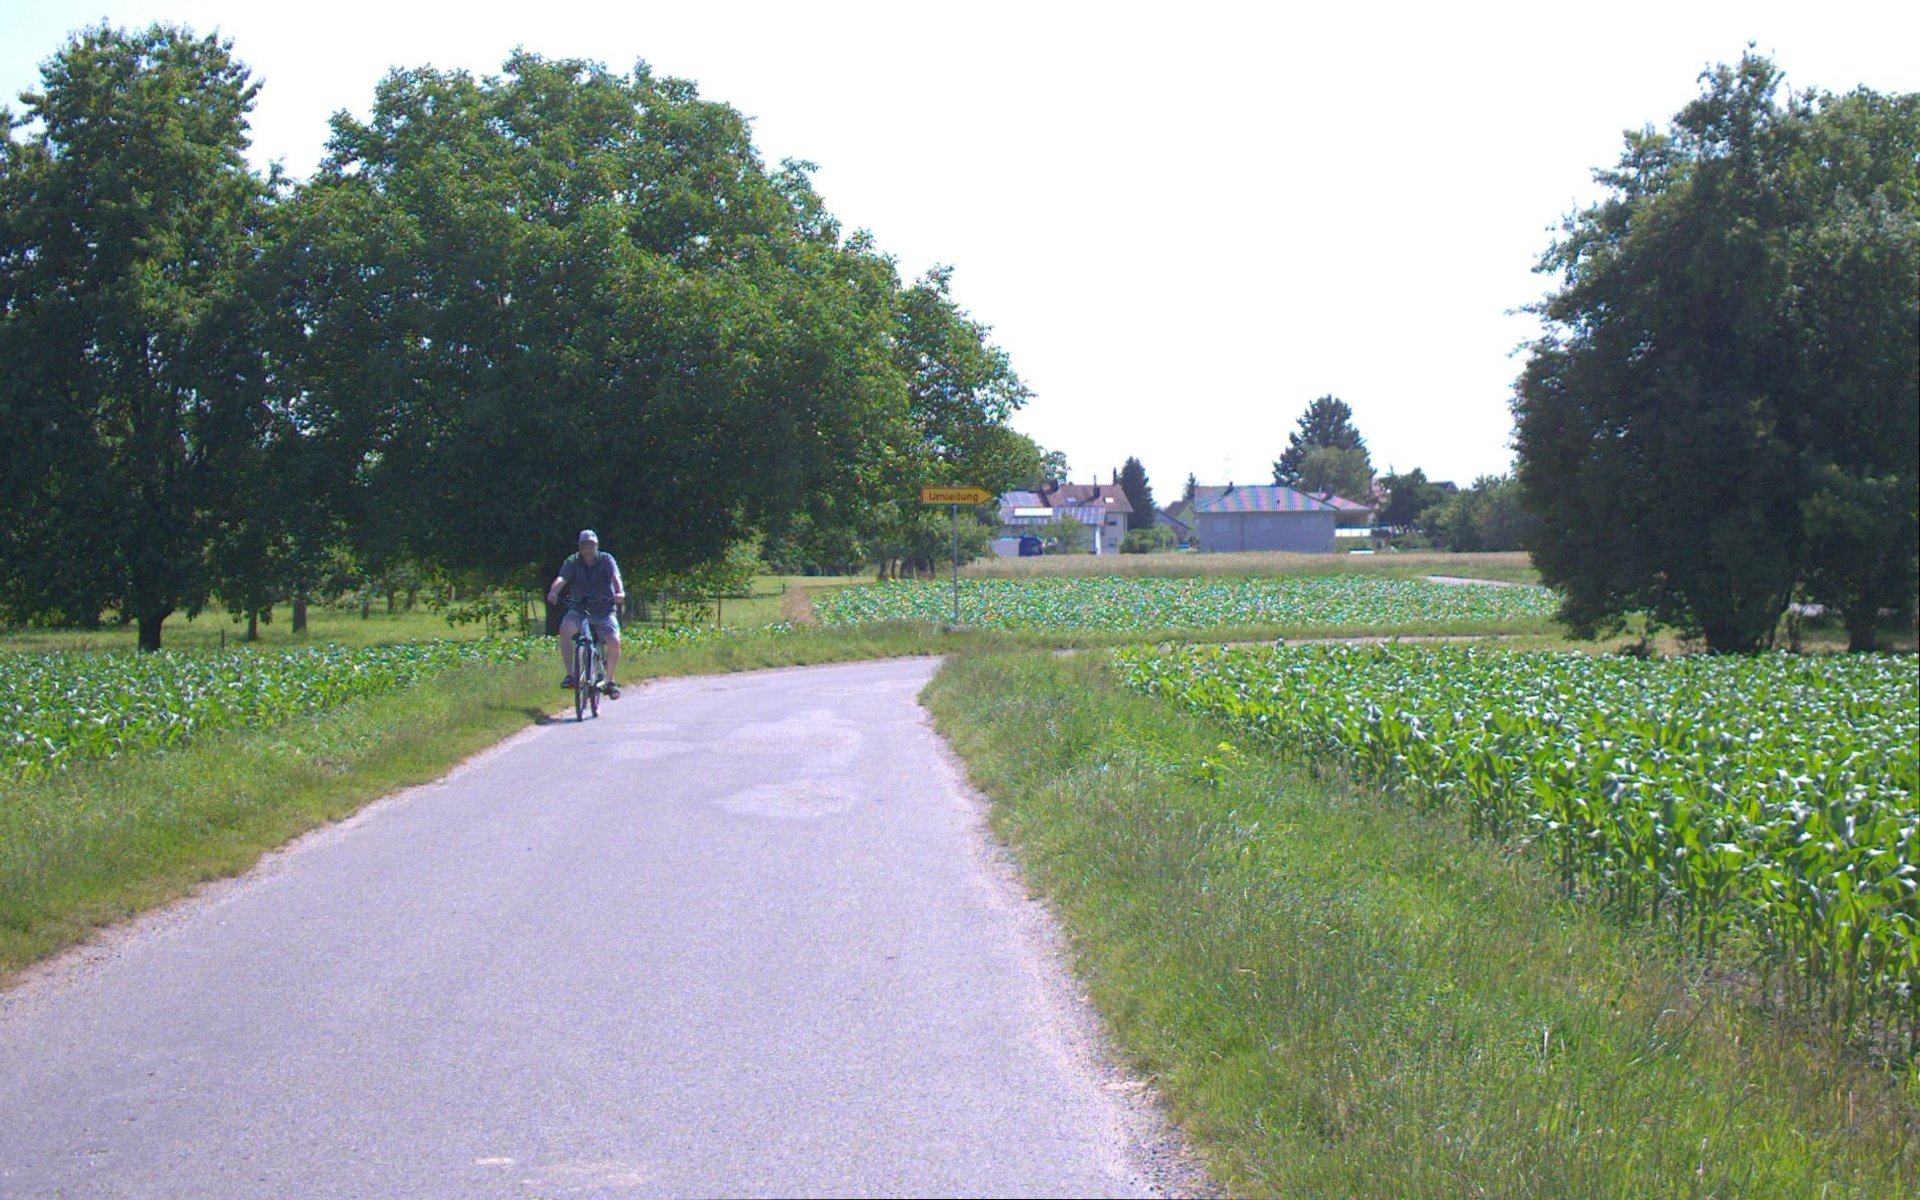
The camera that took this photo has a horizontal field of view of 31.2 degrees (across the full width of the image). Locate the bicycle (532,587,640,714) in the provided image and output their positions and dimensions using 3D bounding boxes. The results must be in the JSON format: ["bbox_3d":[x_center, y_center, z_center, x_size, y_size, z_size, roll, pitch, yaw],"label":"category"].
[{"bbox_3d":[-3.543,0.466,32.733,0.750,1.123,1.908,-2,1,1],"label":"bicycle"}]

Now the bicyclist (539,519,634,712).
[{"bbox_3d":[-3.551,0.142,32.738,0.750,1.785,0.717,-2,1,1],"label":"bicyclist"}]
